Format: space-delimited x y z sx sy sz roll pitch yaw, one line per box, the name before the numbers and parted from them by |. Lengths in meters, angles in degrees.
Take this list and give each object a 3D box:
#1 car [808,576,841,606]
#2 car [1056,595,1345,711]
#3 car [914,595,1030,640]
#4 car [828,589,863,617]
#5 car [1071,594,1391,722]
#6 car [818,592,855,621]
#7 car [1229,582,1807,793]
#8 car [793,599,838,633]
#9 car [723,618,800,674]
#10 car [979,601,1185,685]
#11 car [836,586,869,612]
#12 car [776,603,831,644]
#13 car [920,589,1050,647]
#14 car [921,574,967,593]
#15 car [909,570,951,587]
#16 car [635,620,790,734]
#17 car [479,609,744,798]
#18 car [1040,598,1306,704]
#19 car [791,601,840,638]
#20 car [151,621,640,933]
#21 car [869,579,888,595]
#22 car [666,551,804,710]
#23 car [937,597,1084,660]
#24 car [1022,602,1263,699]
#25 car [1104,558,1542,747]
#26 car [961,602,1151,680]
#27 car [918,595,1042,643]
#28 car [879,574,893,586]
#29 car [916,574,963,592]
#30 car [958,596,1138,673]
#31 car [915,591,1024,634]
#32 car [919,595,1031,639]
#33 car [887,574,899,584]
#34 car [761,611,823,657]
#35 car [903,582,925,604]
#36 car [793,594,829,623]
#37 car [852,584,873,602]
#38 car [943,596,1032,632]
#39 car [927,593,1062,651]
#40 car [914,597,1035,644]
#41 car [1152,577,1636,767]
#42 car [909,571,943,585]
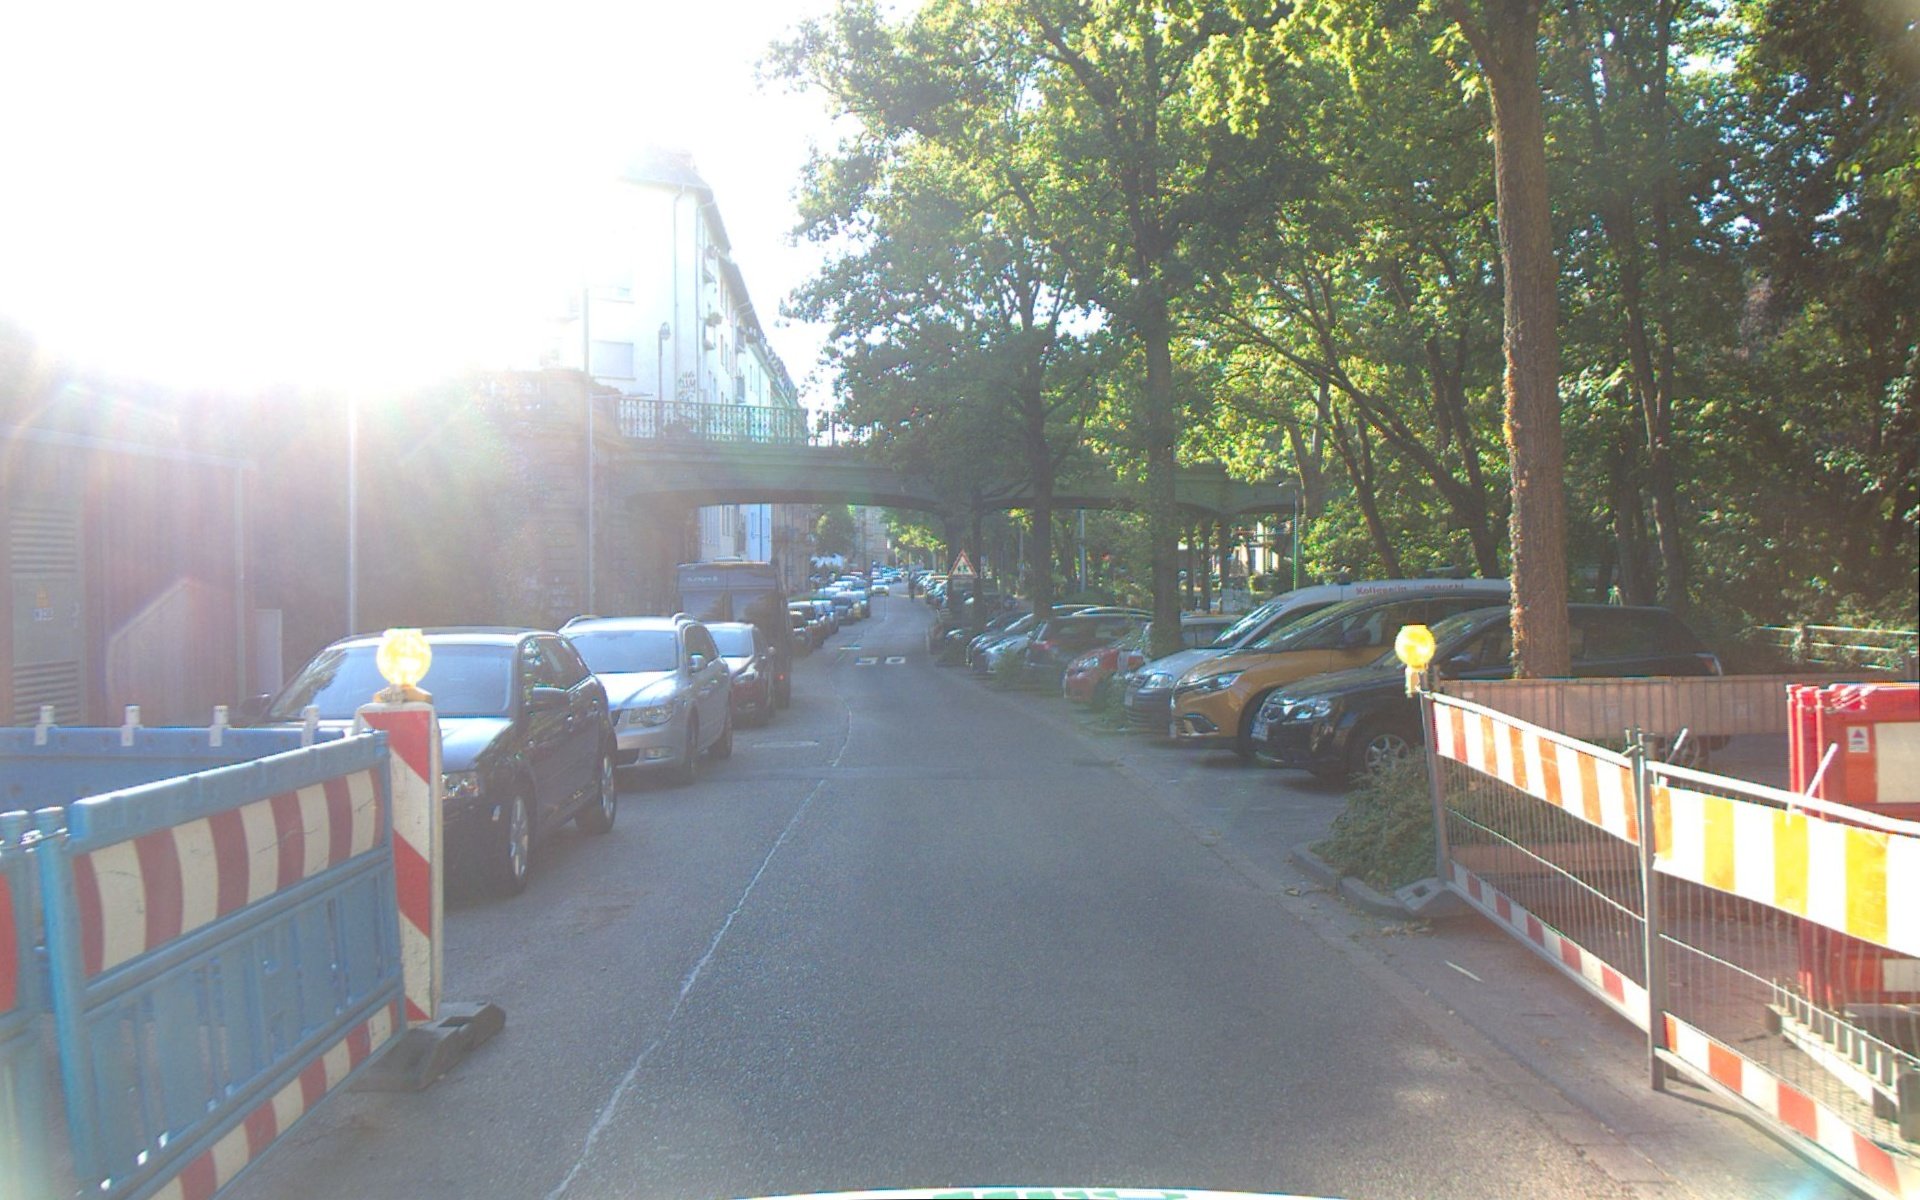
car | -8.261 -0.554 100.932 1.776 1.694 3.973 -2 -1 -2
car | 3.816 0.849 26.671 4.301 1.732 1.915 1 -1 -4
car | 0.432 0.685 62.851 4.301 1.638 1.779 1 -1 -4
car | -6.319 0.172 91.446 1.776 1.422 3.973 -2 -1 -2
car | 3.898 0.844 24.260 4.301 1.732 1.915 1 -1 -4
car | -6.422 0.372 86.470 1.776 1.422 3.973 -2 -1 -2
car | 4.663 0.731 14.192 4.302 1.634 1.914 1 -1 -6
car | -6.406 0.700 73.661 1.776 1.422 3.973 -2 -1 -2
car | -5.478 1.244 45.939 1.776 1.422 3.973 -2 -1 -2
car | 2.641 0.948 36.415 4.301 1.732 1.915 1 -1 -4
car | -6.289 -0.043 96.845 1.776 1.422 3.973 -2 -1 -2
car | -5.801 0.881 61.536 1.776 1.422 3.973 -2 -1 -2
car | 0.825 0.619 56.910 4.301 1.894 1.915 1 -1 -4
car | -1.527 -1.558 157.902 4.299 1.638 1.780 1 -1 -2
car | -3.086 -2.265 171.926 4.299 1.638 1.780 1 -1 -2
car | -3.560 1.063 24.475 1.776 1.478 4.348 -2 -1 -2
car | -3.176 0.875 15.900 1.776 1.465 4.348 1 1 -3
car | 3.642 0.885 28.767 4.301 1.732 1.915 1 -1 -4
car | -5.928 0.793 68.043 1.776 1.422 3.973 -2 -1 -2
car | -3.130 0.878 10.070 1.681 1.442 4.104 -2 -1 -2
car | -7.814 -1.238 159.241 1.776 1.422 3.973 -2 -1 -2
car | -3.921 0.532 29.685 2.007 2.541 5.692 1 -1 -4
car | 1.505 0.884 50.464 4.301 1.816 1.915 1 -1 -4
car | 3.424 0.967 31.523 4.301 1.732 1.915 1 -1 -4
car | 4.150 0.618 19.352 4.649 2.032 1.914 1 -2 -5
car | 2.229 0.970 39.209 4.301 1.732 1.915 1 -1 -4
car | 0.684 0.689 58.930 4.301 1.638 1.779 1 -1 -4
car | -10.300 -2.782 230.147 1.776 1.422 4.609 -2 -1 -2
car | -1.910 -1.583 154.338 4.299 1.638 1.780 1 -1 -2
car | 2.174 0.866 41.577 4.301 1.816 1.915 1 -1 -4
car | 0.361 0.514 67.487 4.301 1.638 1.779 1 -1 -4
car | 0.555 0.698 65.439 4.301 1.638 1.779 1 -1 -4
car | -10.510 -3.271 260.084 1.776 1.422 4.609 -2 -1 -2
car | -5.610 1.117 55.545 1.776 1.422 3.973 -2 -1 -2
car | -3.779 -0.568 136.183 1.739 1.638 4.400 1 -2 -2
car | -8.215 0.492 91.462 1.776 1.527 3.973 -2 -1 -2
car | -8.592 -0.624 146.232 1.776 1.422 3.973 -2 -1 -2
car | 1.319 0.694 81.018 4.299 1.638 1.780 1 -1 -2
car | 1.116 0.739 54.761 4.301 1.816 1.915 1 -1 -4
car | 0.509 0.761 60.915 4.301 1.638 1.779 1 -1 -4
car | 4.232 0.706 16.557 4.301 1.732 1.915 1 -1 -4
car | -4.258 -2.752 207.902 4.299 1.638 1.780 1 -1 -2
